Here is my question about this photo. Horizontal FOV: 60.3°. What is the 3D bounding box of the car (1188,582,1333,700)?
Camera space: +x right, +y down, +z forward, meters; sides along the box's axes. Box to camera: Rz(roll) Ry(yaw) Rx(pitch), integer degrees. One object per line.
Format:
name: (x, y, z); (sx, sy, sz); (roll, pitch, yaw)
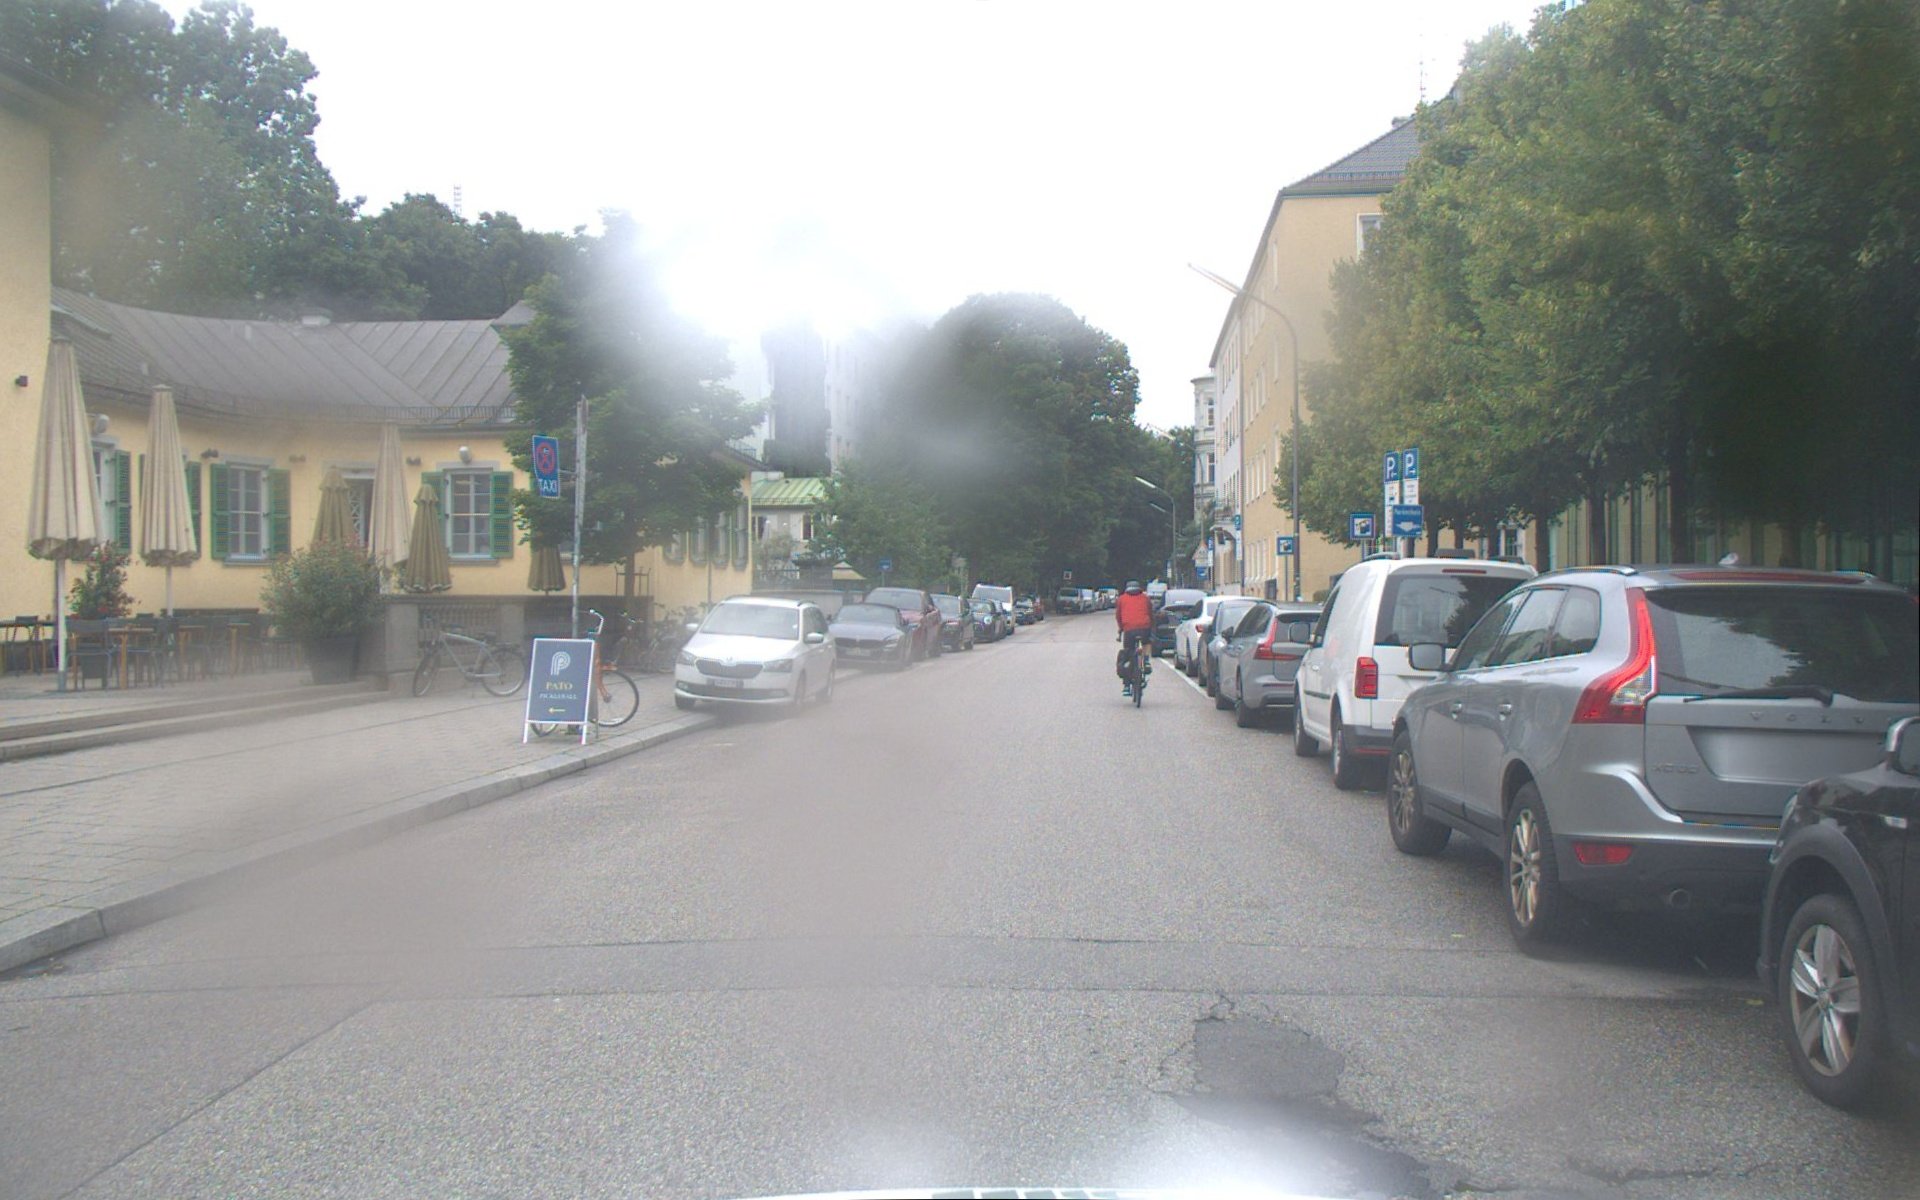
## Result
car: (4.632, 0.582, 25.964); (1.824, 1.705, 3.904); (0, 0, 4)

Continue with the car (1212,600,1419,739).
car: (4.169, 0.750, 20.042); (1.824, 1.465, 4.257); (1, 0, 4)

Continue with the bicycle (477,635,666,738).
bicycle: (-4.208, 0.910, 18.075); (0.611, 1.021, 2.133); (3, 1, 34)

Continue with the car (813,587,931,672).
car: (-1.790, 0.580, 35.131); (1.951, 1.677, 4.658); (0, 0, 4)

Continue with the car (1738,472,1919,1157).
car: (3.442, 0.597, 3.488); (1.724, 1.855, 4.140); (1, 0, 1)

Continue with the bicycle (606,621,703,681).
bicycle: (-5.392, 0.892, 29.175); (1.592, 1.022, 0.619); (0, -2, -24)

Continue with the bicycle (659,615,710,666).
bicycle: (-5.707, 0.835, 34.352); (0.608, 1.022, 1.620); (0, -1, 7)

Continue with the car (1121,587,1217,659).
car: (5.062, 0.531, 40.527); (1.952, 1.646, 4.001); (0, 0, 2)

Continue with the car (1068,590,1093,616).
car: (10.117, 0.261, 138.429); (1.952, 2.049, 4.002); (3, 0, 5)

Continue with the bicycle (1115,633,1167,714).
bicycle: (2.391, 0.959, 22.016); (0.608, 1.022, 2.141); (0, -1, 4)

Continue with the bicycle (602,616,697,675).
bicycle: (-5.720, 0.830, 30.469); (1.599, 1.022, 0.616); (-1, -1, -34)

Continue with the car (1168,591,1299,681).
car: (5.136, 0.634, 31.538); (1.952, 1.579, 4.001); (0, 0, 2)

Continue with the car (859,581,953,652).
car: (-1.253, 0.410, 40.194); (1.952, 1.631, 4.001); (0, -1, 3)

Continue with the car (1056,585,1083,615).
car: (8.405, 0.006, 126.917); (1.952, 2.135, 4.002); (3, 0, 3)

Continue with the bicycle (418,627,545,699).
bicycle: (-6.478, 0.839, 22.400); (1.592, 0.942, 0.647); (0, -1, -24)

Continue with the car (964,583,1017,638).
car: (1.264, 0.402, 66.593); (1.952, 2.116, 4.002); (0, 0, 3)

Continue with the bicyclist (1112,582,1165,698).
bicyclist: (2.385, 0.538, 22.184); (0.657, 1.524, 1.095); (0, -2, 4)

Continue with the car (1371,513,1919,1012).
car: (3.393, 0.579, 8.316); (1.824, 1.825, 4.512); (0, 0, 4)

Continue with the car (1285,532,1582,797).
car: (3.961, 0.473, 14.512); (1.713, 1.977, 4.230); (0, 0, 5)

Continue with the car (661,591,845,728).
car: (-2.718, 0.738, 22.556); (1.697, 1.609, 3.789); (3, 0, 4)

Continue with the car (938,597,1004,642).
car: (0.415, 0.648, 58.025); (1.951, 1.512, 4.003); (0, 0, 6)

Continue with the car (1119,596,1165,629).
car: (9.069, 0.610, 82.733); (1.952, 1.579, 4.001); (0, 0, 2)

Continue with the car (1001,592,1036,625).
car: (3.199, 0.448, 89.321); (1.772, 1.712, 4.002); (0, 0, 3)

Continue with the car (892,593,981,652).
car: (-0.626, 0.598, 47.168); (1.951, 1.512, 4.003); (2, 1, 7)

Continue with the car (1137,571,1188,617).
car: (9.446, -0.279, 77.310); (1.952, 2.096, 4.625); (0, 0, 2)
